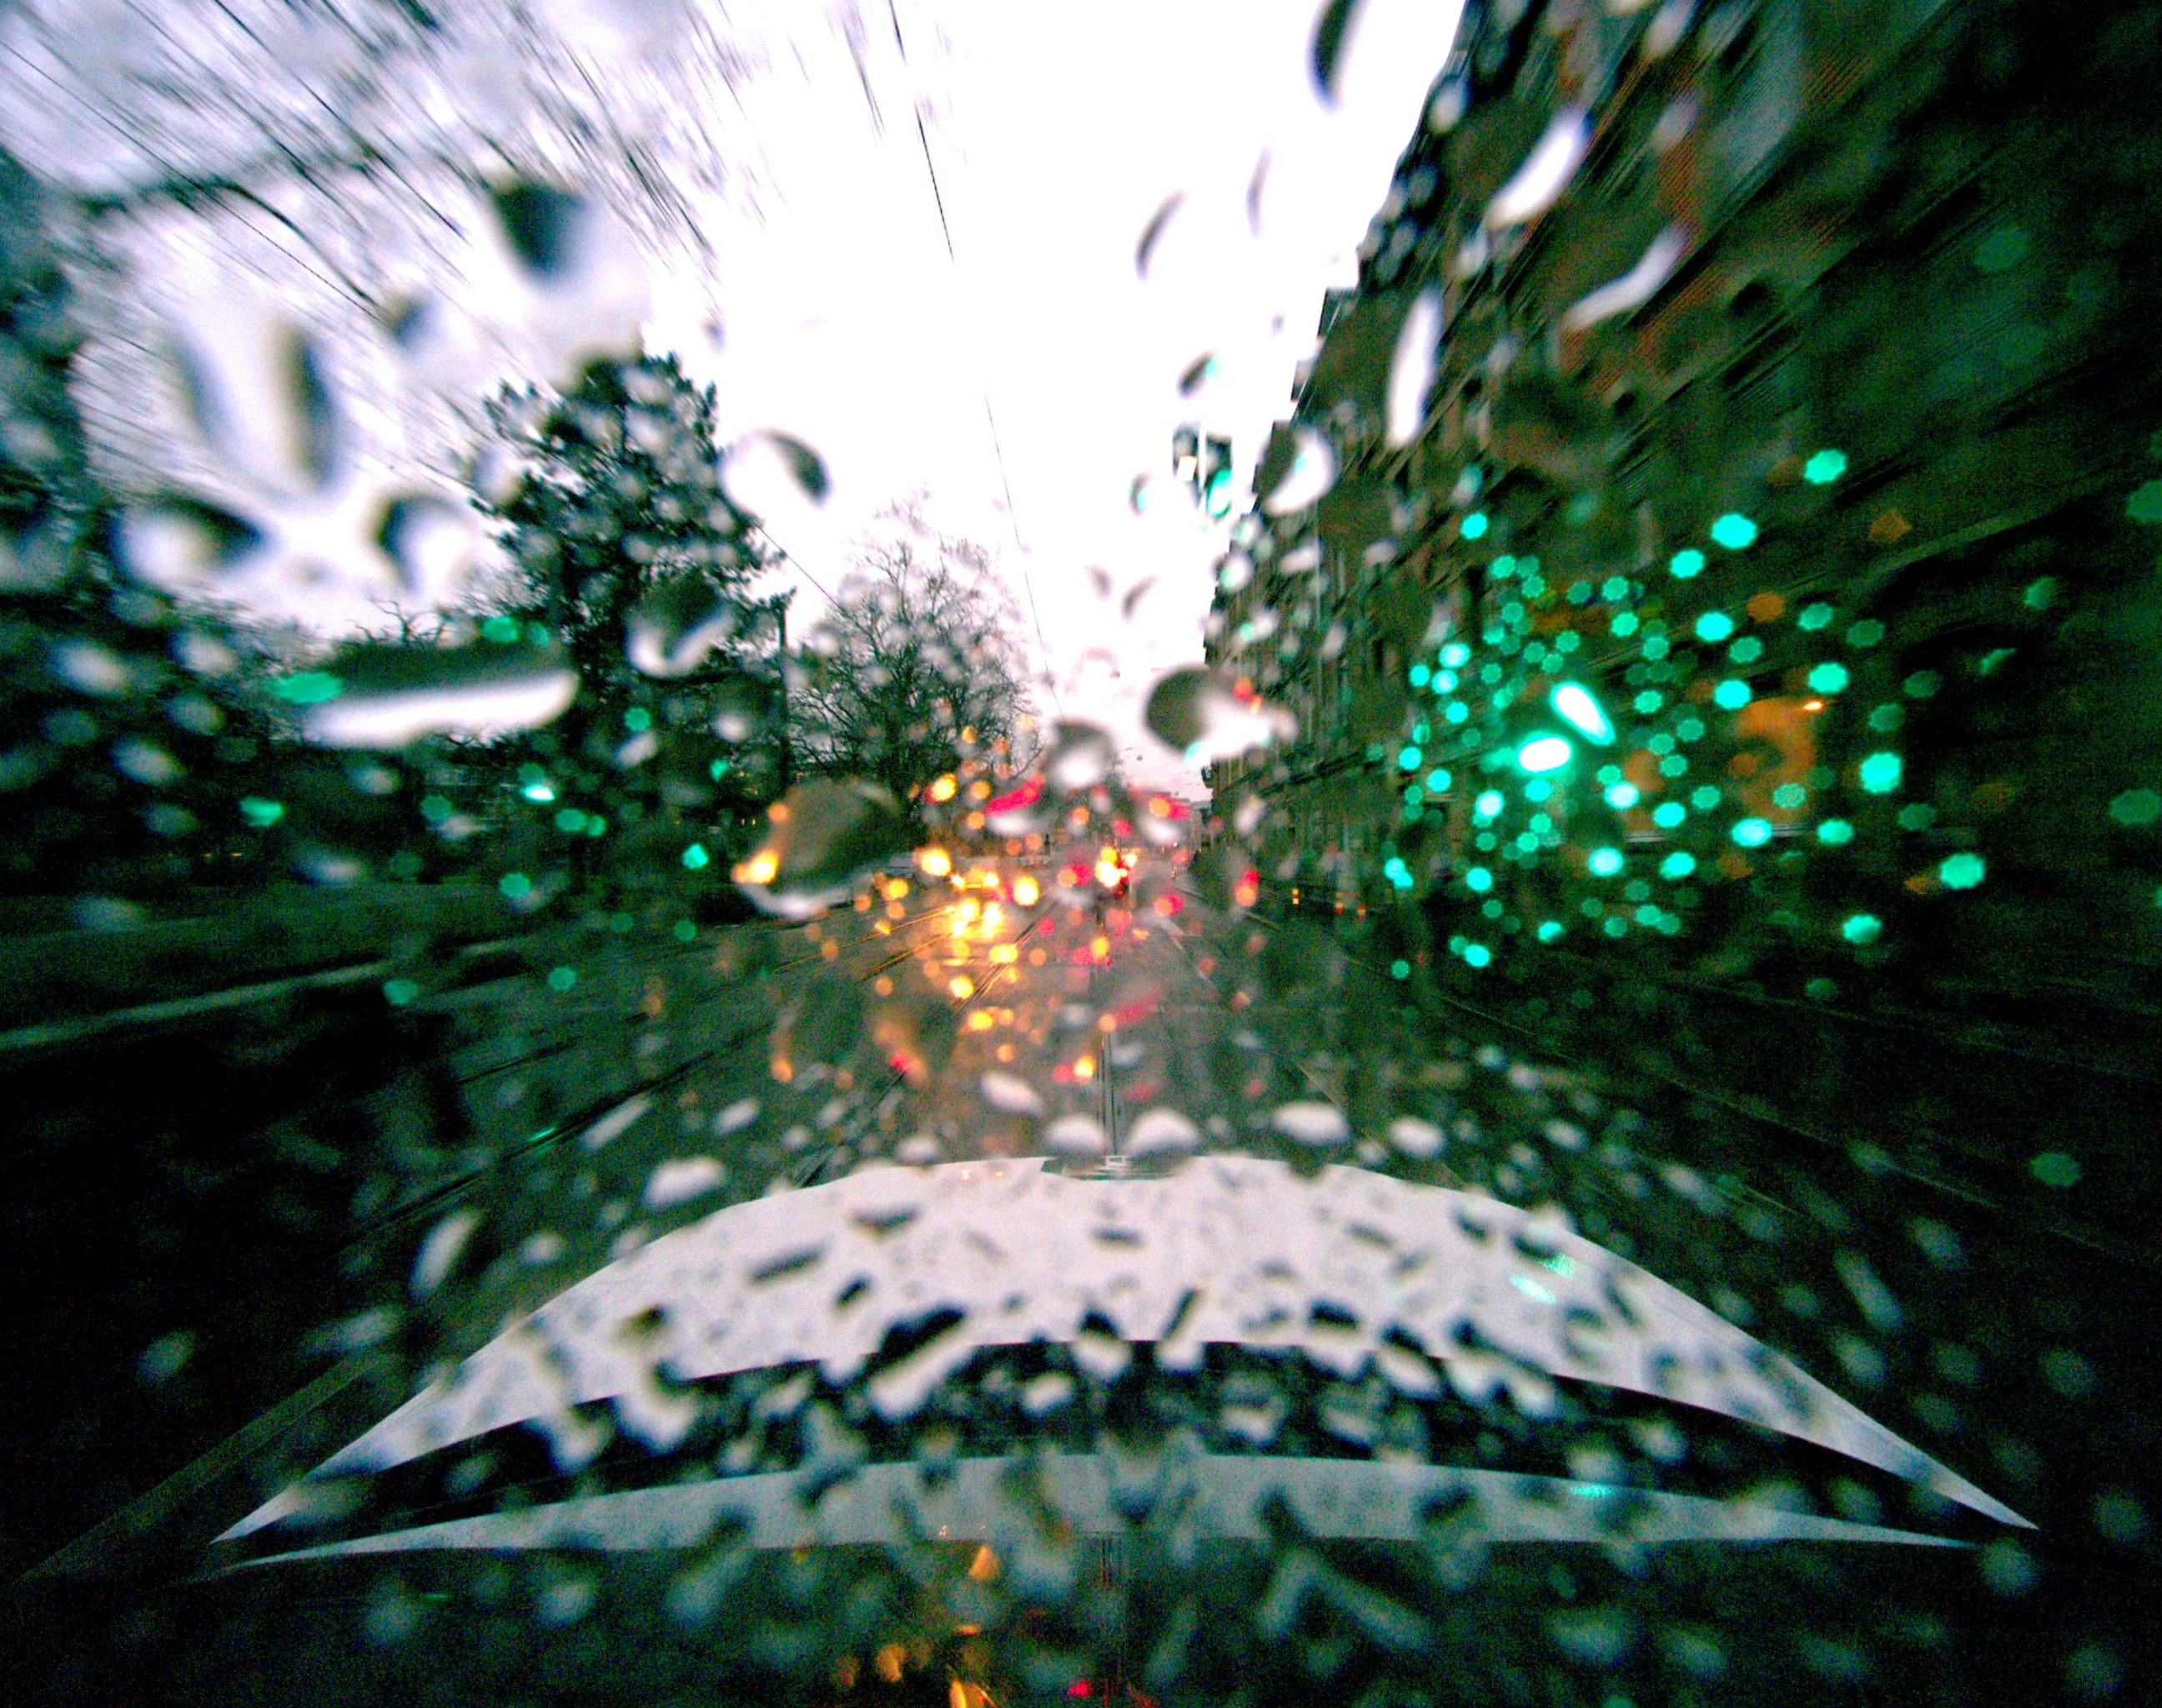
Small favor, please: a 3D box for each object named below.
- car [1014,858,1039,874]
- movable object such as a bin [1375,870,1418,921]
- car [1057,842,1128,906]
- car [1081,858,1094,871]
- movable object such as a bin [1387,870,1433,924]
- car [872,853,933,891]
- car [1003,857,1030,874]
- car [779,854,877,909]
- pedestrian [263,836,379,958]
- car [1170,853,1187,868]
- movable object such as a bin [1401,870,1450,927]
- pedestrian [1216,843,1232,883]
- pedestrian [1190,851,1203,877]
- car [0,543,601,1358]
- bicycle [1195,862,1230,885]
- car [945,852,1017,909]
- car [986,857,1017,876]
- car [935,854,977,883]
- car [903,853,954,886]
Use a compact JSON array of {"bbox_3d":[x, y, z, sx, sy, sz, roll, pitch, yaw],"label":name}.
[{"bbox_3d":[-5.713,1.218,85.646,1.974,1.615,4.435,0,-1,5],"label":"car"},{"bbox_3d":[6.635,0.863,17.152,0.638,1.055,0.744,0,-1,1],"label":"movable object such as a bin"},{"bbox_3d":[0.448,0.597,25.663,1.985,1.842,4.004,-1,0,4],"label":"car"},{"bbox_3d":[0.995,1.574,128.256,1.986,2.014,4.001,0,-1,1],"label":"car"},{"bbox_3d":[6.609,0.856,16.389,0.638,1.055,0.744,0,-1,1],"label":"movable object such as a bin"},{"bbox_3d":[-7.999,0.786,36.831,1.979,1.615,4.424,0,-1,-3],"label":"car"},{"bbox_3d":[-6.254,1.160,79.653,1.975,1.615,4.434,0,-1,5],"label":"car"},{"bbox_3d":[-8.111,0.841,26.573,1.979,1.615,4.424,0,-1,-3],"label":"car"},{"bbox_3d":[-11.801,0.652,12.688,0.816,1.815,1.011,0,-1,4],"label":"pedestrian"},{"bbox_3d":[12.663,0.842,105.544,1.985,1.842,4.004,-1,0,4],"label":"car"},{"bbox_3d":[6.590,0.848,15.620,0.638,1.055,0.744,0,-1,1],"label":"movable object such as a bin"},{"bbox_3d":[7.118,0.446,40.486,0.713,1.953,0.657,0,-1,1],"label":"pedestrian"},{"bbox_3d":[7.988,0.703,56.318,0.769,1.775,0.685,0,-1,1],"label":"pedestrian"},{"bbox_3d":[-4.342,0.298,2.207,2.437,2.347,5.846,-2,-1,2],"label":"car"},{"bbox_3d":[6.479,0.951,40.280,0.795,1.144,2.229,0,-1,-18],"label":"bicycle"},{"bbox_3d":[-3.688,0.959,30.717,1.985,2.014,4.003,0,-1,3],"label":"car"},{"bbox_3d":[-7.143,1.101,73.433,1.975,1.615,4.434,0,-1,4],"label":"car"},{"bbox_3d":[-7.406,0.856,48.641,1.979,1.615,4.424,0,-1,-3],"label":"car"},{"bbox_3d":[-7.788,0.791,41.937,1.979,1.615,4.424,0,-1,-3],"label":"car"}]
